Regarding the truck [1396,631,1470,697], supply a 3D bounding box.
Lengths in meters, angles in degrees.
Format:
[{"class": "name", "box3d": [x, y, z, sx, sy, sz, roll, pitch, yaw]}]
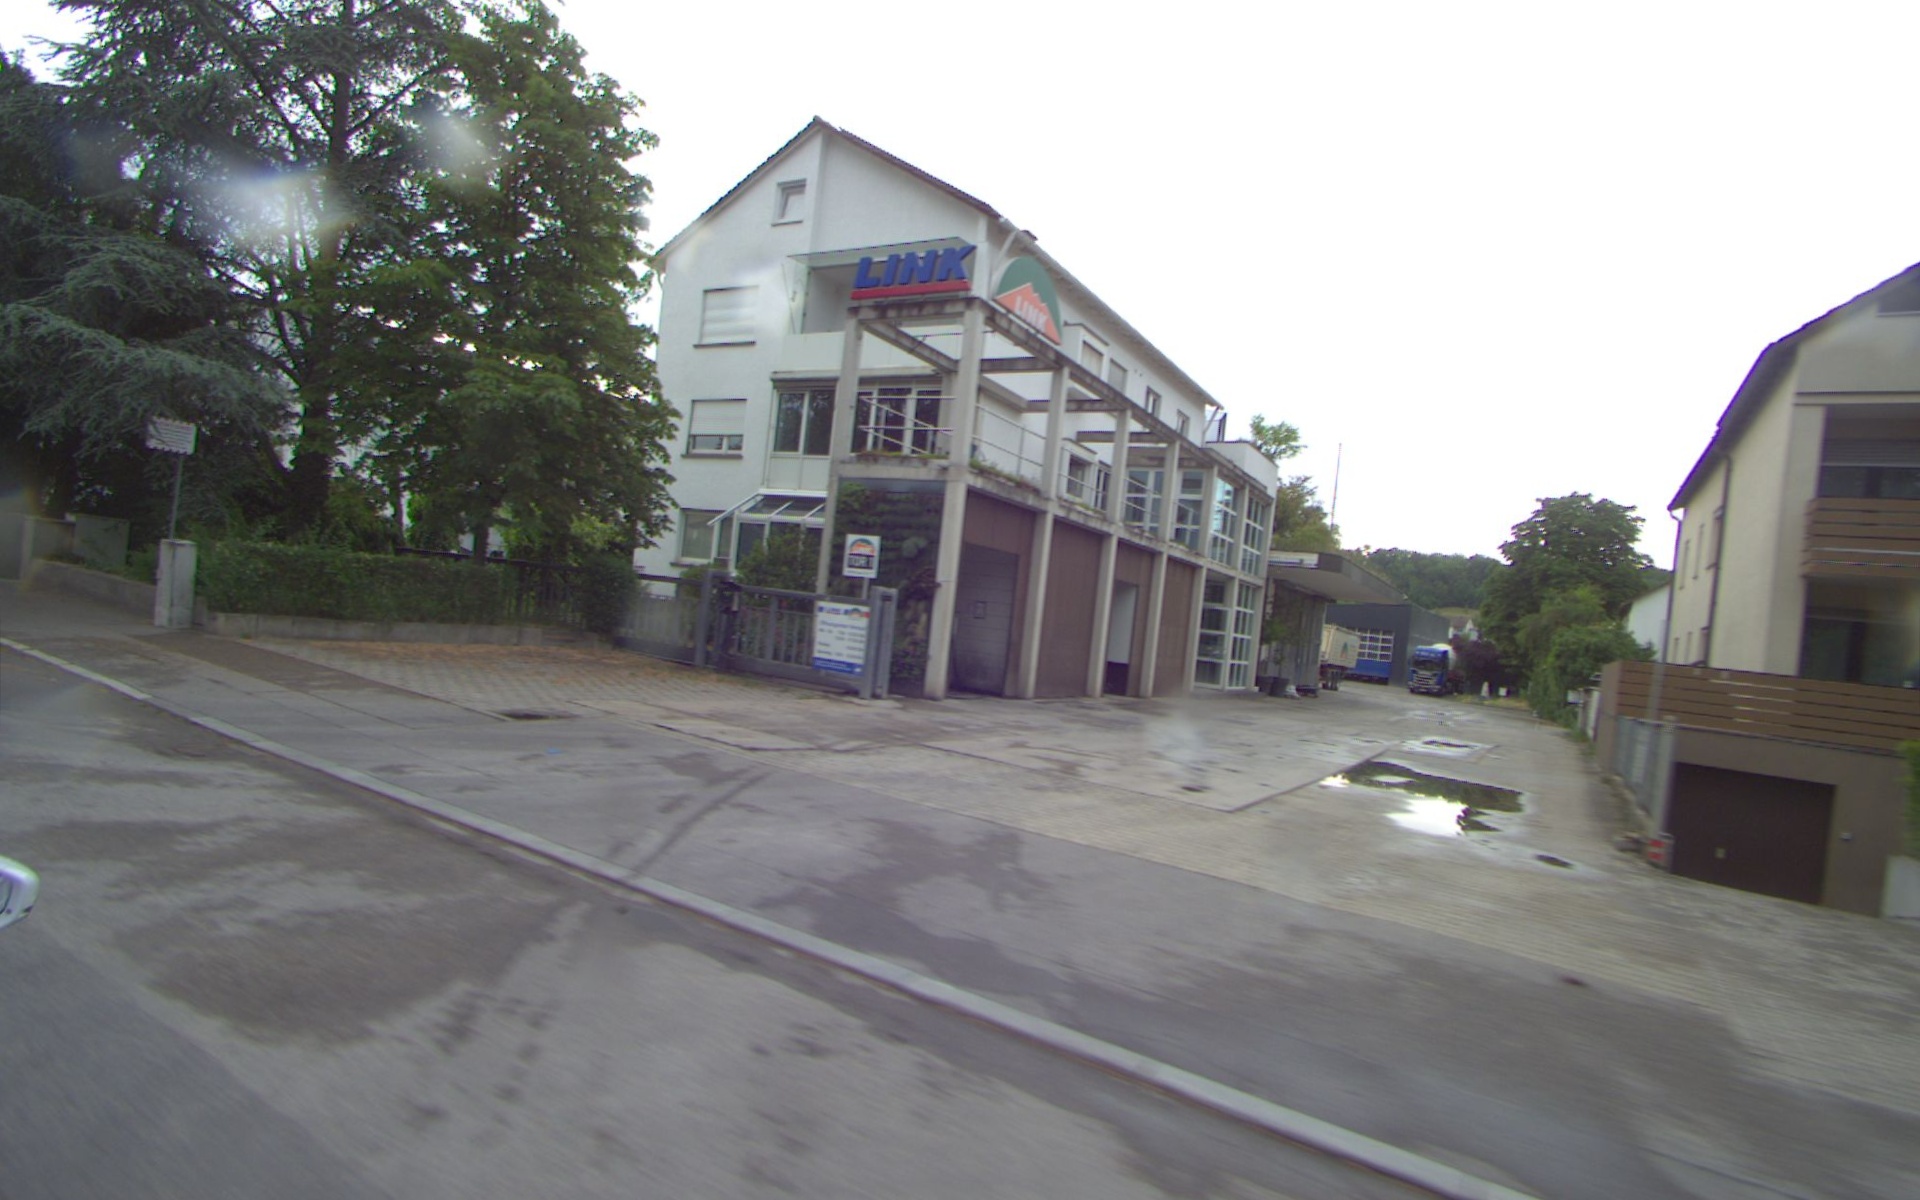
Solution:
[{"class": "truck", "box3d": [38.125, 5.210, 80.801, 4.097, 4.429, 9.939, 7, -2, 30]}]

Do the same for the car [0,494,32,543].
[{"class": "car", "box3d": [-32.309, -2.879, 31.663, 1.967, 1.474, 4.110, 7, -2, 32]}]
